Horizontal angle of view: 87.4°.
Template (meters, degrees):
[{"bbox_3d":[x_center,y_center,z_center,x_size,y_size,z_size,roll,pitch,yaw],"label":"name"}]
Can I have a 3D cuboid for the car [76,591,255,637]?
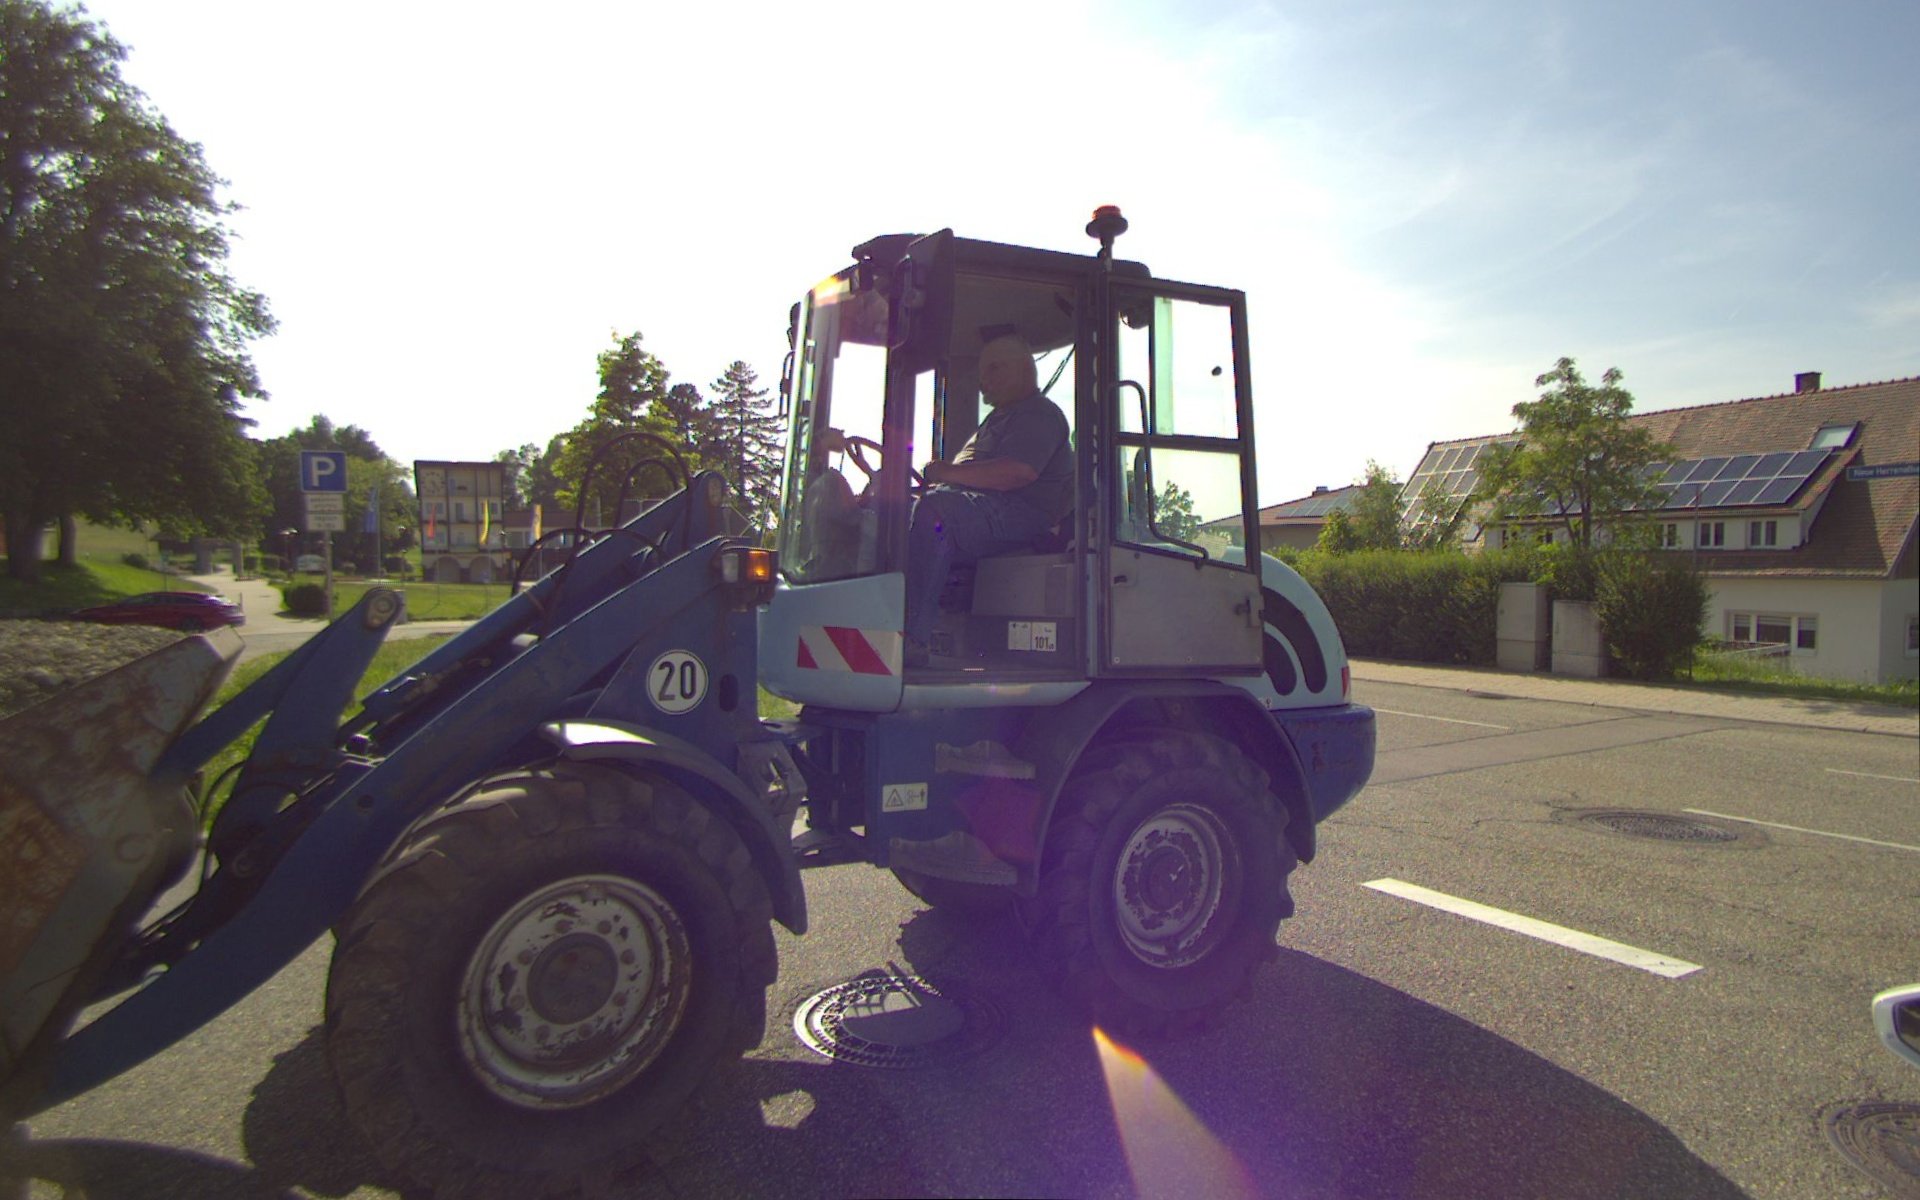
[{"bbox_3d":[-25.754,0.438,32.708,4.166,1.417,1.819,1,0,-14],"label":"car"}]

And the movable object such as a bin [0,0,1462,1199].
[{"bbox_3d":[-0.709,0.010,3.535,5.045,2.806,1.984,1,-1,-30],"label":"movable object such as a bin"}]

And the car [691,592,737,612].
[{"bbox_3d":[-19.955,0.154,81.461,3.146,1.490,1.775,2,0,23],"label":"car"}]
